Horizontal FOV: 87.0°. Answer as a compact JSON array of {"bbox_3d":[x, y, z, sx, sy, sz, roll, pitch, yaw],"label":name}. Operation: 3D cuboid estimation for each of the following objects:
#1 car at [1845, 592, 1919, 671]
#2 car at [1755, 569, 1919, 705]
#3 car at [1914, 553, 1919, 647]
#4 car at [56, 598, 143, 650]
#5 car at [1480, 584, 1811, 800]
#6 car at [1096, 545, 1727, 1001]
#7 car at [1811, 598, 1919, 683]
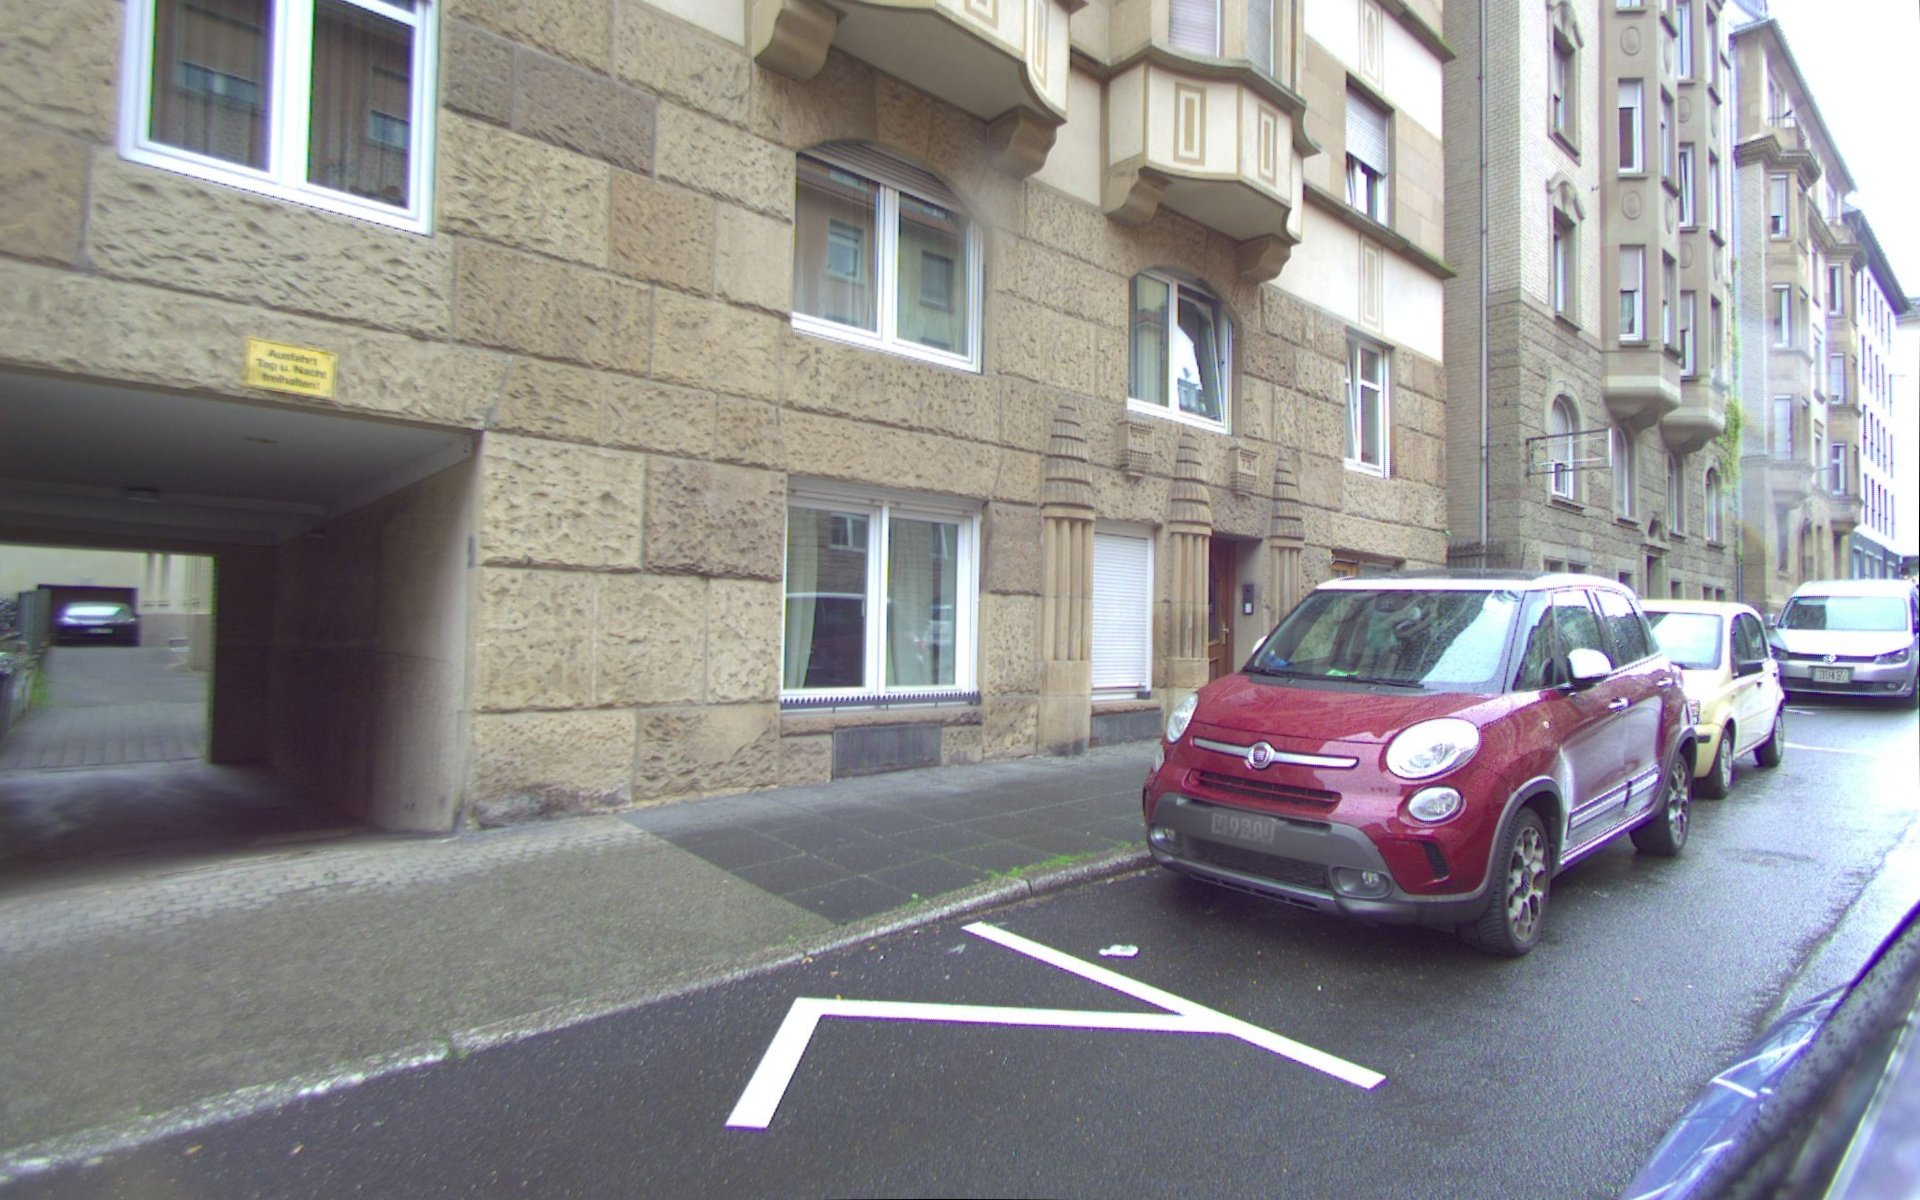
[{"bbox_3d":[20.353,0.621,21.386,3.987,1.544,1.933,0,-1,-41],"label":"car"},{"bbox_3d":[13.613,0.482,15.289,3.893,1.791,1.809,0,0,-41],"label":"car"},{"bbox_3d":[29.155,-0.015,28.847,6.042,2.567,1.991,0,-1,-39],"label":"car"},{"bbox_3d":[-25.098,0.647,29.469,1.765,1.363,4.008,-1,1,-43],"label":"car"},{"bbox_3d":[6.147,0.658,8.943,3.471,1.530,1.630,0,-1,-42],"label":"car"},{"bbox_3d":[2.702,0.596,5.590,3.932,1.621,1.772,0,1,-42],"label":"car"},{"bbox_3d":[17.154,0.674,18.425,3.912,1.406,1.929,0,-1,-41],"label":"car"}]
